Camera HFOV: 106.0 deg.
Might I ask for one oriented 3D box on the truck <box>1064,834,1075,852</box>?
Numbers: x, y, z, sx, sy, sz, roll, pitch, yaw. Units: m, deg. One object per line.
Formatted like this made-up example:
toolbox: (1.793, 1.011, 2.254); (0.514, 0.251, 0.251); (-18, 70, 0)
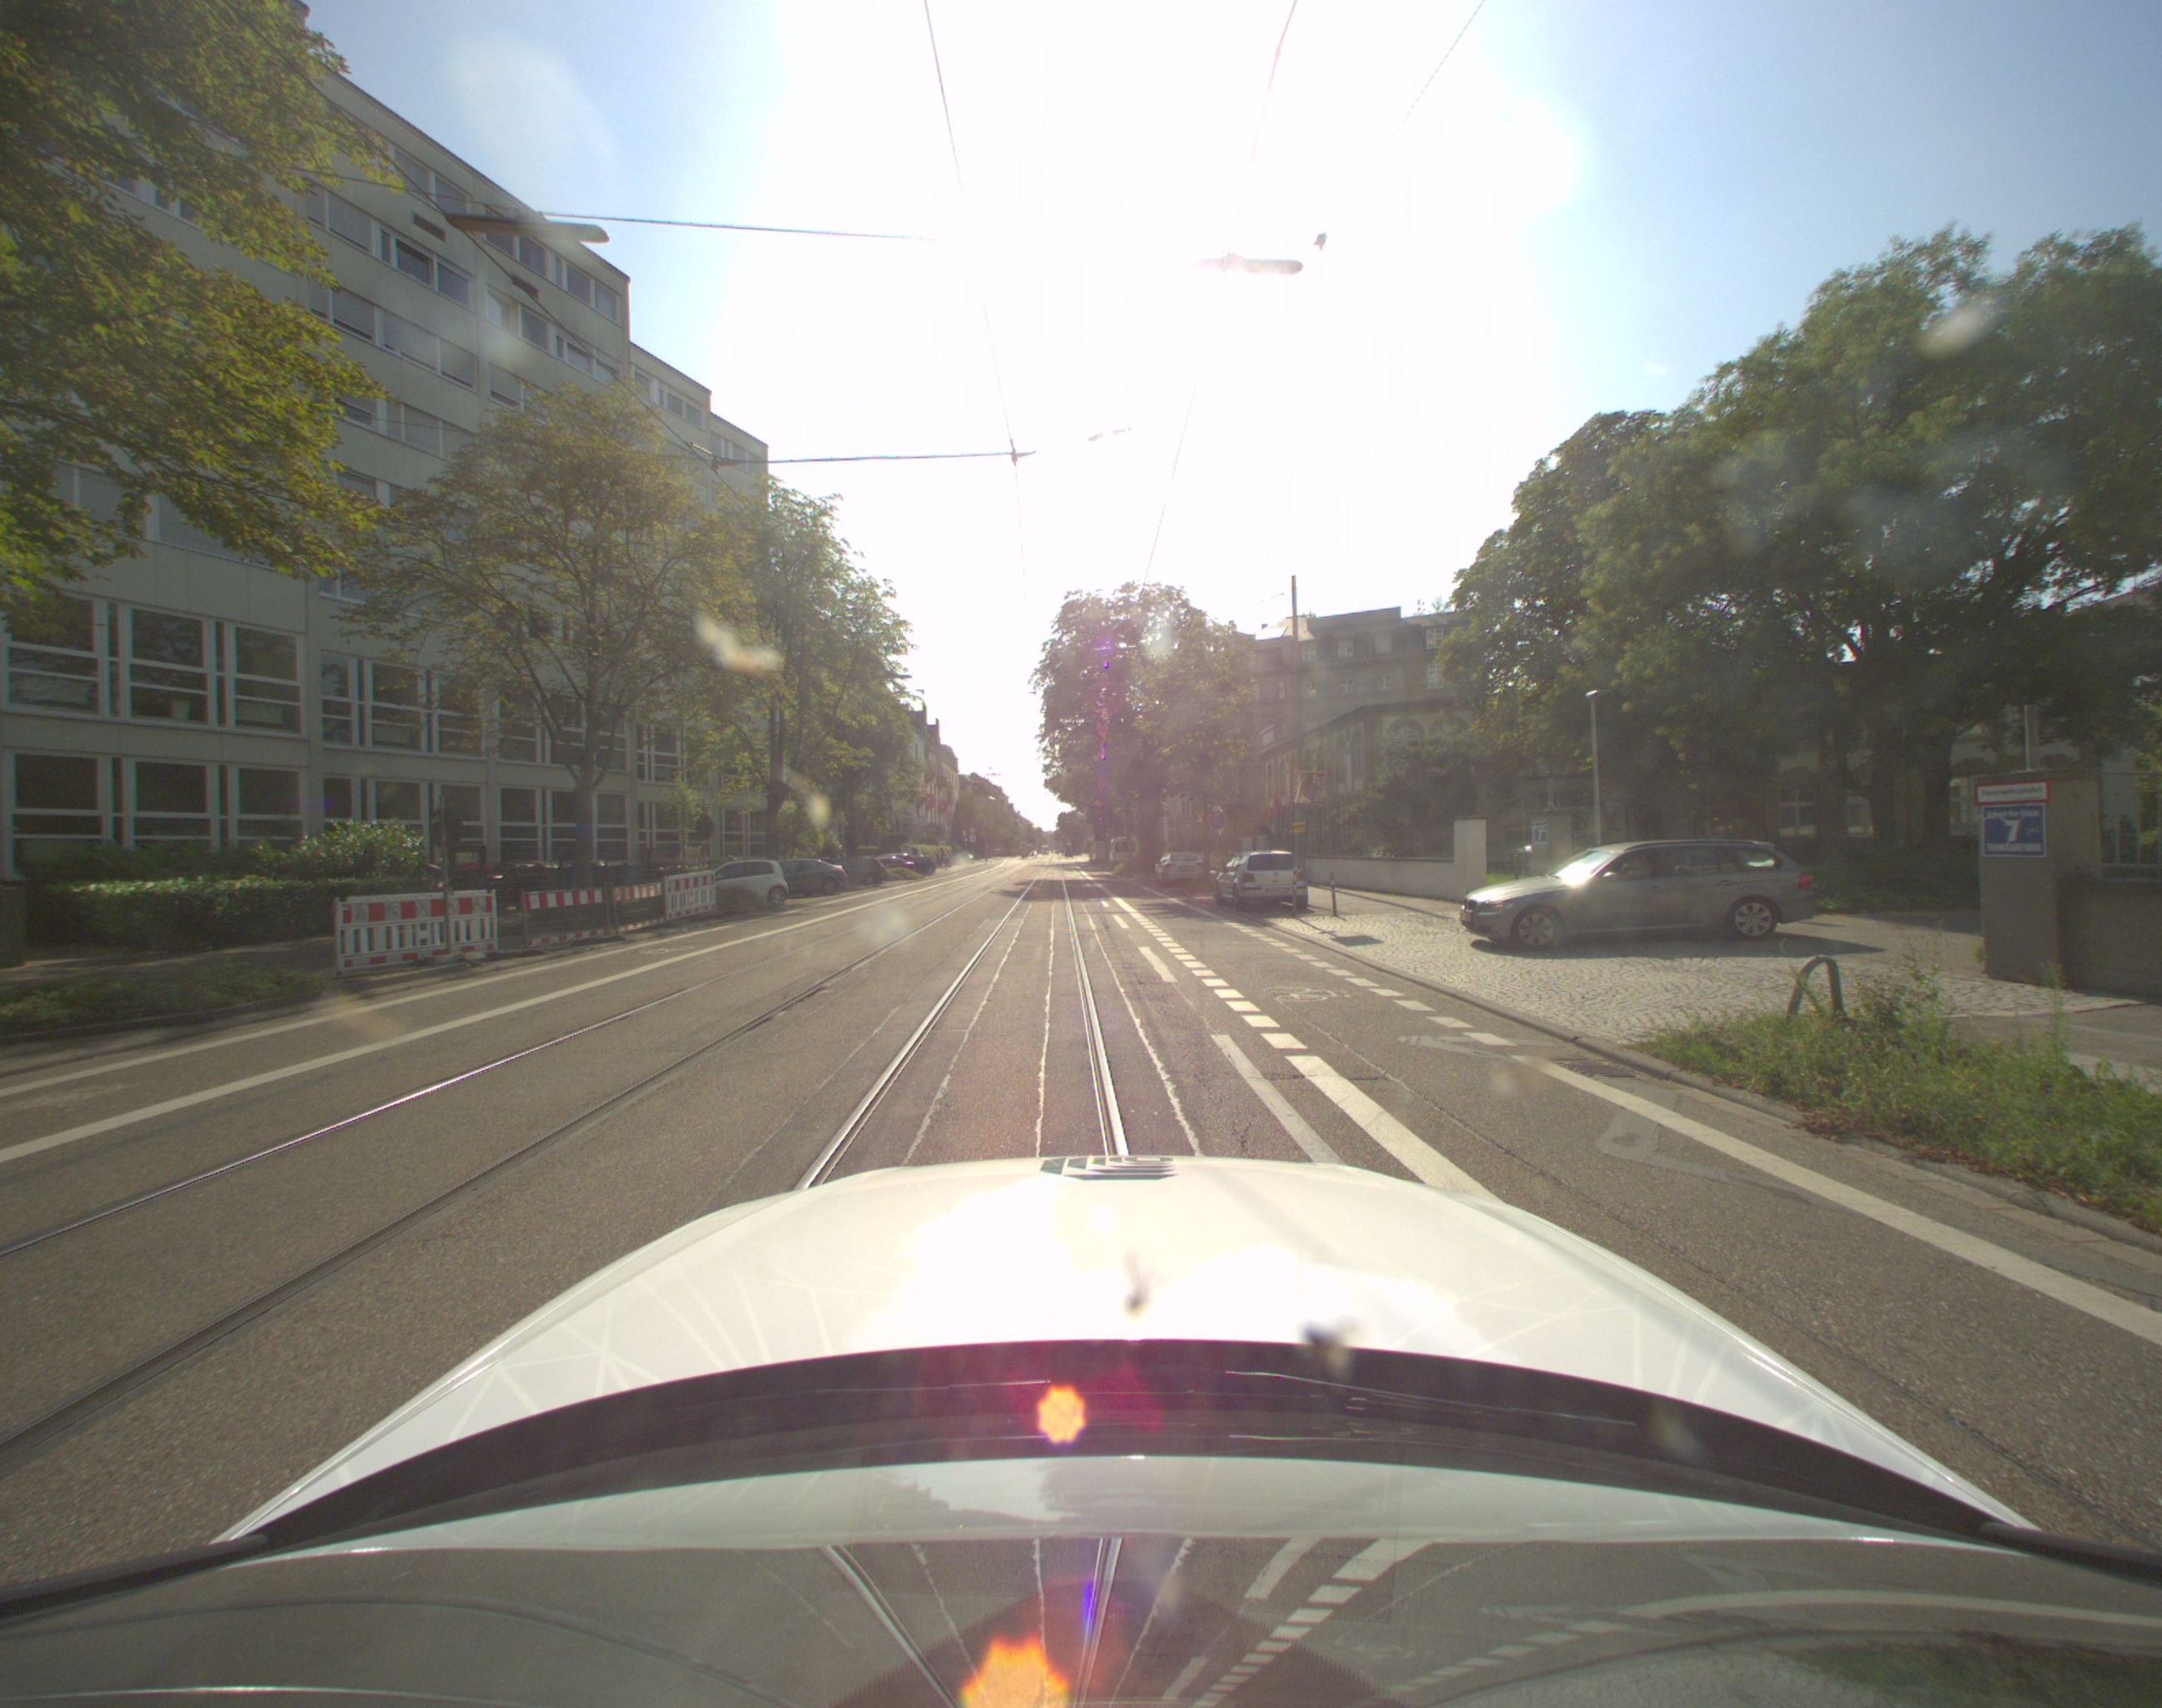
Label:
truck: (-2.120, -2.016, 150.929); (1.857, 3.130, 4.347); (-1, 0, -4)

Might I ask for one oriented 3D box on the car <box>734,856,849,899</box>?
car: (-10.798, 0.831, 30.540); (1.550, 1.443, 3.786); (-1, 0, 42)

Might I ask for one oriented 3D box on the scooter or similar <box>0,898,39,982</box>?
scooter or similar: (-16.003, 1.238, 11.944); (2.009, 1.134, 0.590); (-1, 0, 30)

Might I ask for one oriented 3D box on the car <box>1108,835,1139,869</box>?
car: (3.224, -0.152, 62.459); (1.999, 2.490, 4.475); (-1, 0, -1)

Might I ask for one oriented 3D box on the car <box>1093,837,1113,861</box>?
car: (2.391, -0.527, 89.352); (1.999, 2.475, 4.475); (-1, 0, -1)

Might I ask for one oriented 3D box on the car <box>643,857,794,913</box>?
car: (-10.676, 0.866, 24.180); (1.550, 1.443, 3.787); (-1, 0, 38)

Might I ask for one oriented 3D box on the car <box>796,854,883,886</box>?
car: (-11.650, 0.759, 39.466); (1.550, 1.406, 3.786); (-1, 0, 42)

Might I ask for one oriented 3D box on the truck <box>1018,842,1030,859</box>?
truck: (-10.596, -0.636, 150.553); (1.988, 2.975, 4.567); (-1, 0, -2)

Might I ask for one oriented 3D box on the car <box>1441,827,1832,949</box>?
car: (7.969, 0.496, 12.109); (4.395, 1.410, 1.810); (-4, -1, 9)

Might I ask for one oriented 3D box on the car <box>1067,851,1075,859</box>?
car: (-2.618, 0.207, 206.622); (1.987, 1.837, 3.999); (-1, 0, 0)

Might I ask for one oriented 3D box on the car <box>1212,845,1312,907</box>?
car: (4.497, 0.499, 20.705); (1.684, 1.418, 3.633); (-1, 0, -1)

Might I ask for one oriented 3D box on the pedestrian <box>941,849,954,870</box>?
pedestrian: (-11.350, 0.468, 69.311); (0.959, 1.760, 0.660); (-1, 0, -3)

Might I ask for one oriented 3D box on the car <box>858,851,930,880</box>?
car: (-11.507, 0.685, 50.140); (4.011, 1.640, 1.676); (-1, 0, -29)

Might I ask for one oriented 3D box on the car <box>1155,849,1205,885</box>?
car: (4.118, 0.506, 34.347); (1.590, 1.418, 3.633); (-1, 0, -1)
